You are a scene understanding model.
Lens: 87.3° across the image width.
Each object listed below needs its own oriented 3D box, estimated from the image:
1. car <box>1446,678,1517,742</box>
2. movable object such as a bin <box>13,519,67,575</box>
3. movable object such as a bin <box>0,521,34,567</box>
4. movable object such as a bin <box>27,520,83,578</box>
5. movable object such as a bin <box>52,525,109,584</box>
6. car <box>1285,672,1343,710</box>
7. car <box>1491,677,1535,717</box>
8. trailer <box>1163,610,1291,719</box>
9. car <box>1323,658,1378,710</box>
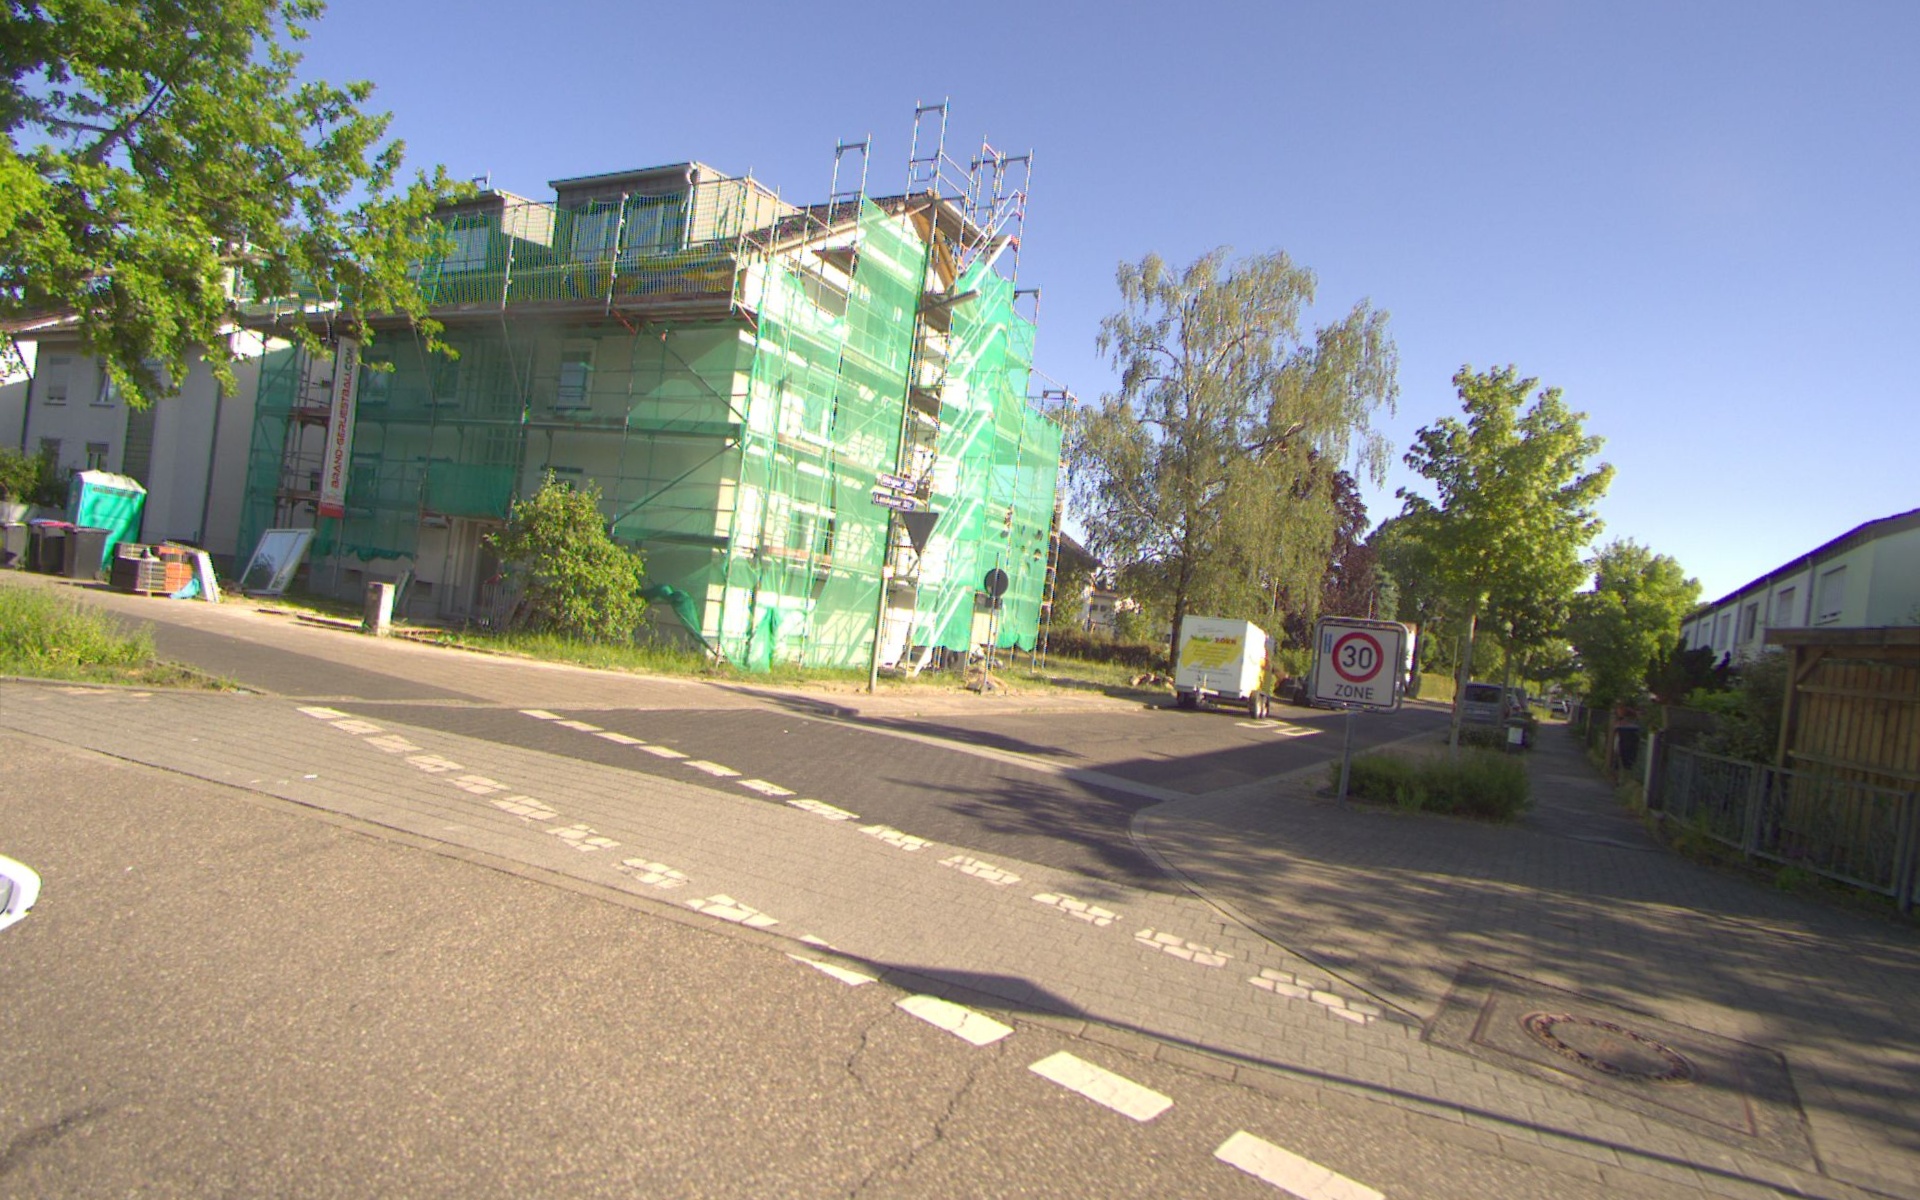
[{"bbox_3d":[18.008,3.782,34.640,1.856,1.797,3.920,8,-2,30],"label":"car"},{"bbox_3d":[-19.385,-1.109,21.204,0.557,1.082,0.605,6,0,29],"label":"movable object such as a bin"},{"bbox_3d":[-20.998,-1.245,22.273,0.540,0.943,0.530,6,-1,29],"label":"movable object such as a bin"},{"bbox_3d":[-18.640,-1.041,20.725,0.635,1.082,0.605,6,0,29],"label":"movable object such as a bin"},{"bbox_3d":[-17.785,-0.921,20.352,0.635,1.082,0.605,6,0,29],"label":"movable object such as a bin"},{"bbox_3d":[14.527,3.737,41.198,1.581,1.208,3.242,8,-2,30],"label":"car"},{"bbox_3d":[30.835,5.432,56.119,1.856,1.903,3.920,8,-2,30],"label":"car"},{"bbox_3d":[7.537,1.810,27.982,2.050,2.563,4.964,6,-1,29],"label":"trailer"},{"bbox_3d":[17.040,3.688,43.873,1.581,1.925,3.152,8,-2,30],"label":"car"}]
